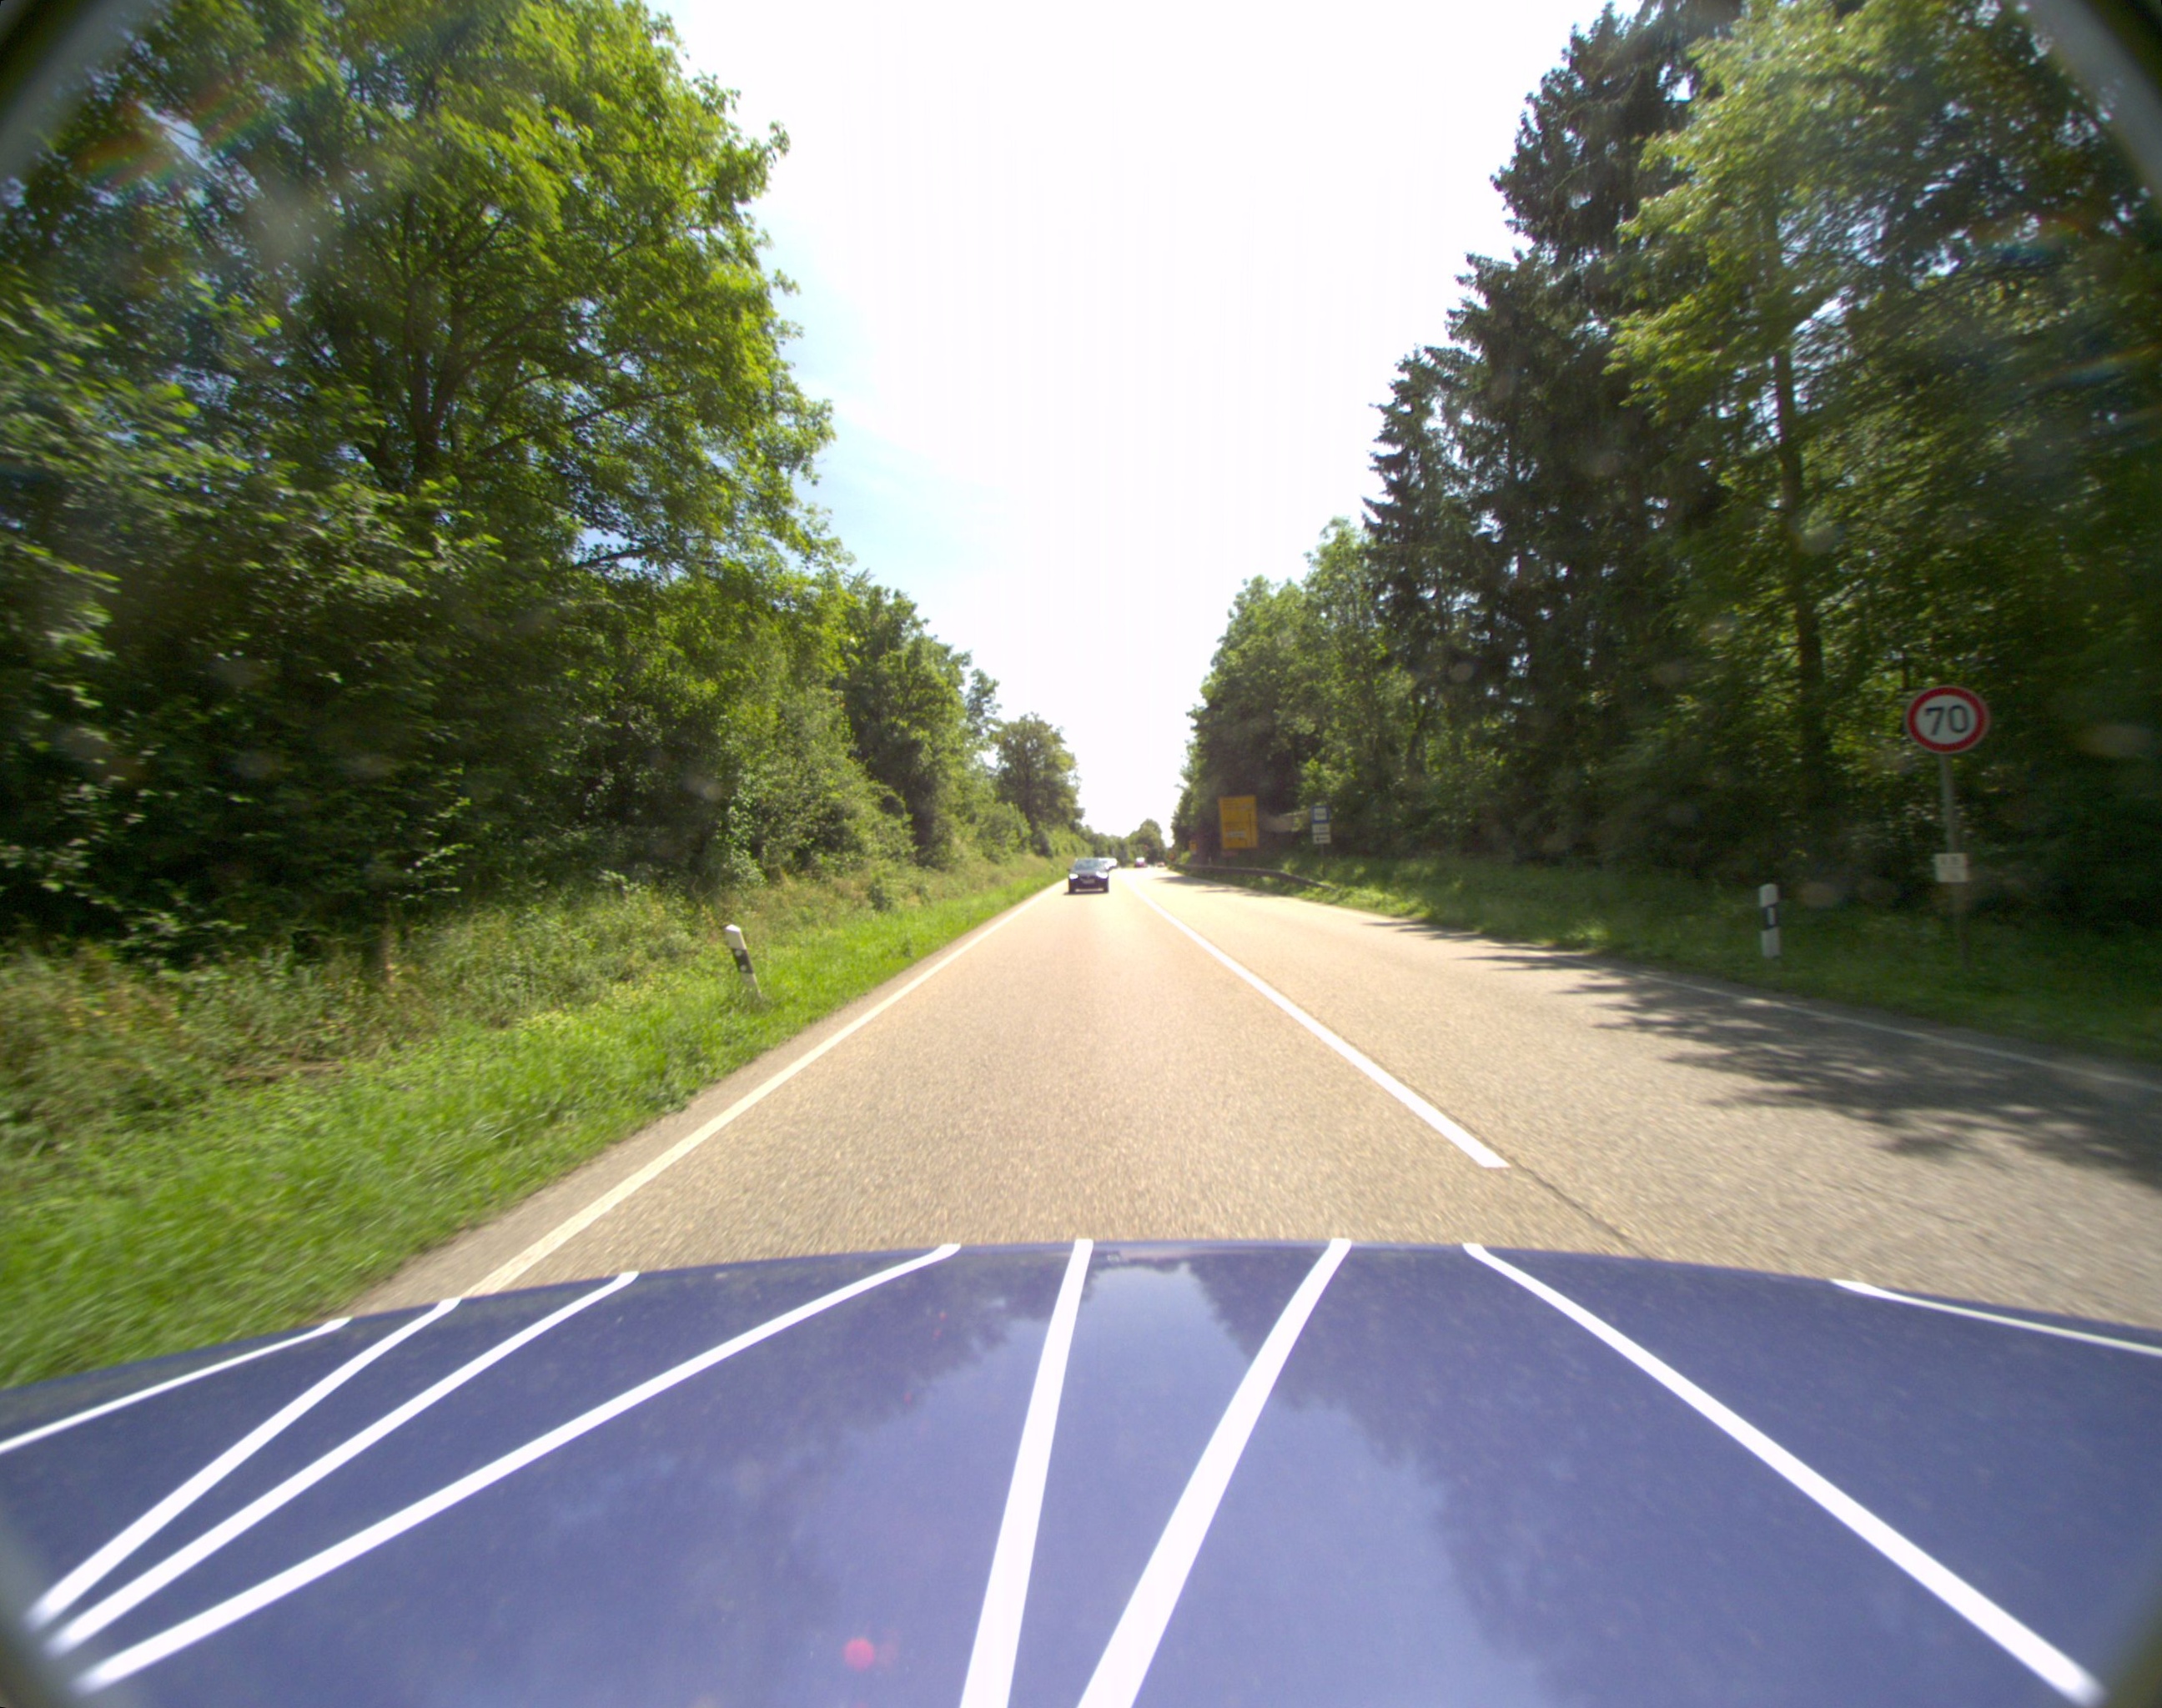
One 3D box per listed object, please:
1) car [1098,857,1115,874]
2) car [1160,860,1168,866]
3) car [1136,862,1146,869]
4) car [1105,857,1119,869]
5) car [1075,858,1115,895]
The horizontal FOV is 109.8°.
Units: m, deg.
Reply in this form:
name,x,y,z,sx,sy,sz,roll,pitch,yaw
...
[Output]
name,x,y,z,sx,sy,sz,roll,pitch,yaw
car,2.882,1.330,86.364,1.770,1.673,4.001,-4,-2,1
car,22.382,2.468,204.656,1.810,1.426,3.873,-2,-1,5
car,13.734,2.551,173.617,1.808,1.444,4.390,-3,-1,7
car,5.498,1.587,135.230,1.998,2.001,4.003,-4,-2,7
car,0.604,0.956,33.825,1.627,1.535,4.001,-1,-1,1
